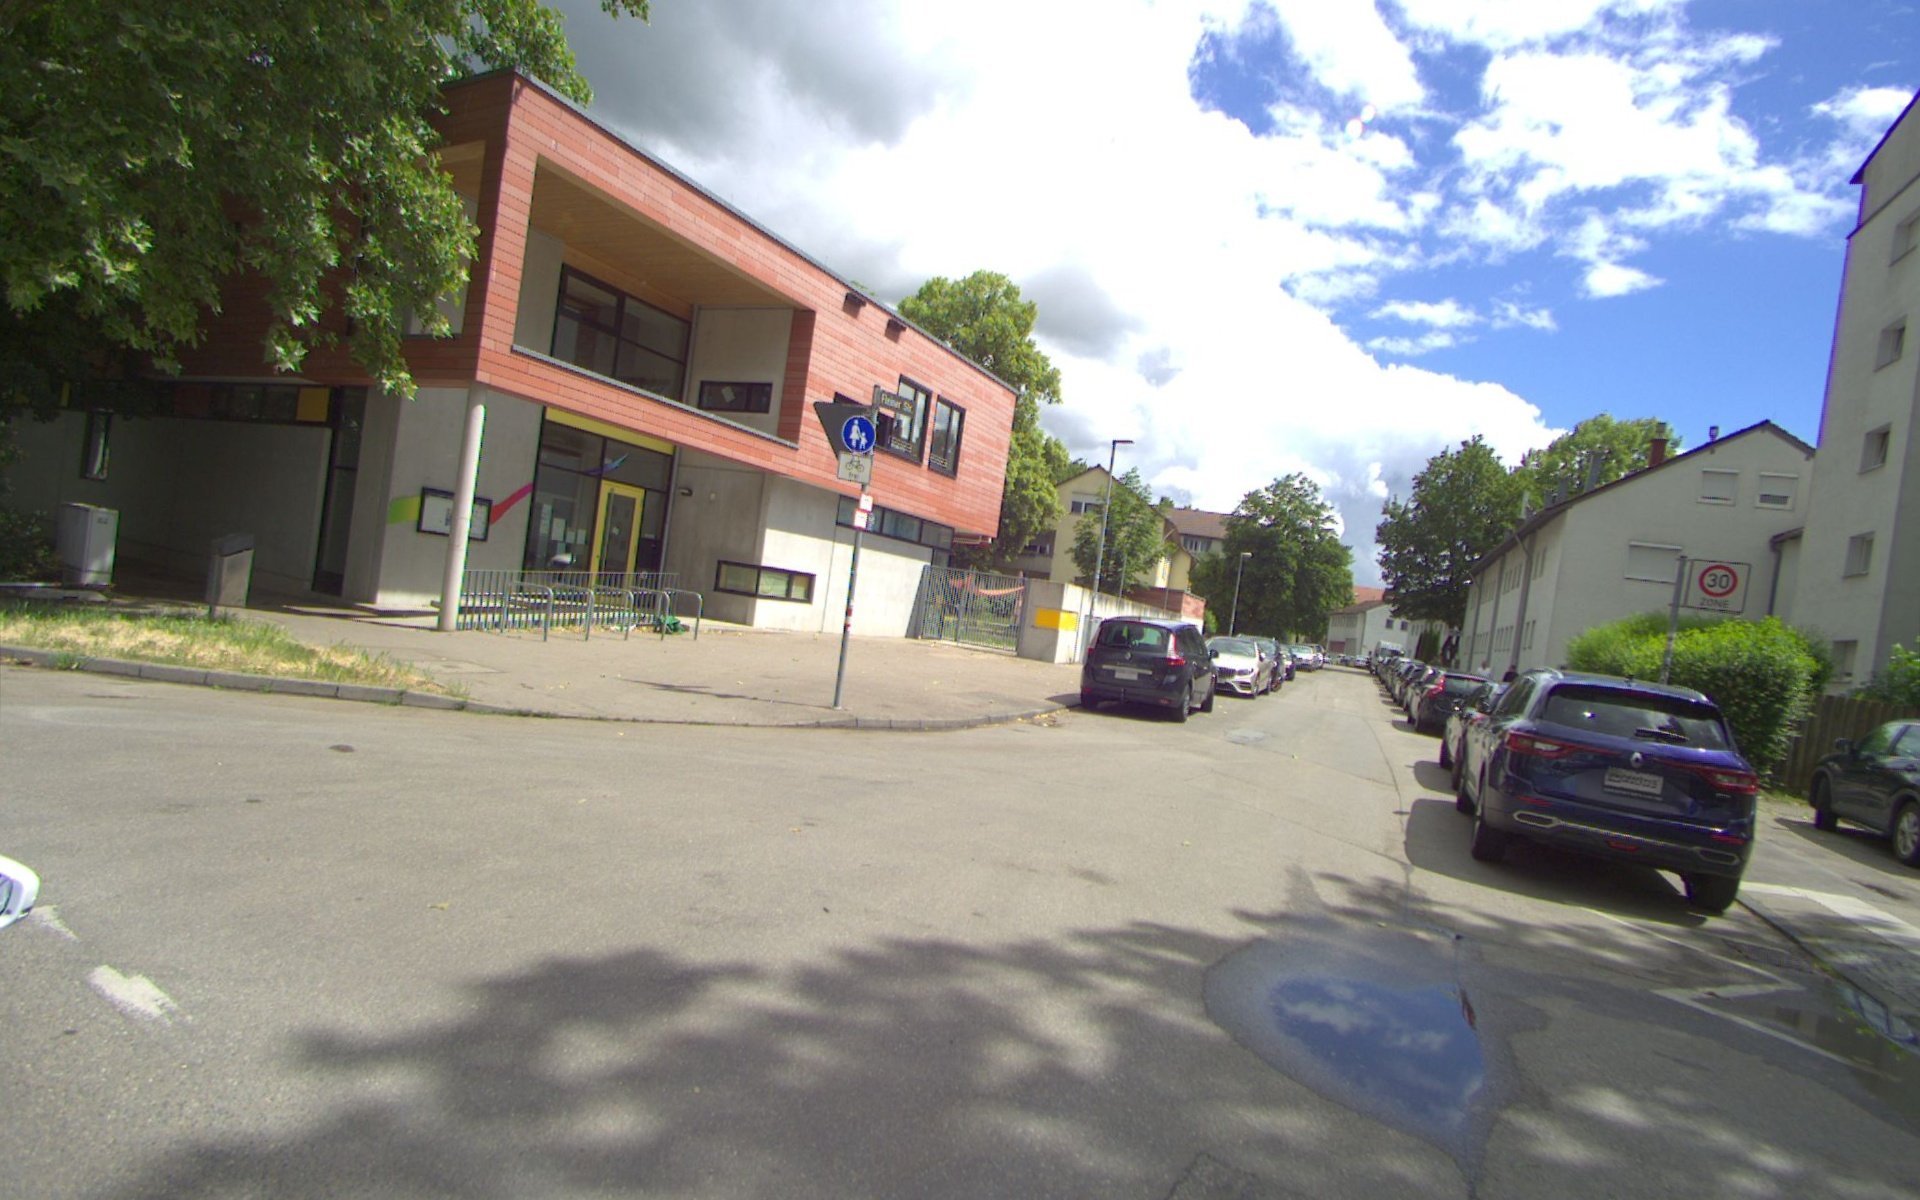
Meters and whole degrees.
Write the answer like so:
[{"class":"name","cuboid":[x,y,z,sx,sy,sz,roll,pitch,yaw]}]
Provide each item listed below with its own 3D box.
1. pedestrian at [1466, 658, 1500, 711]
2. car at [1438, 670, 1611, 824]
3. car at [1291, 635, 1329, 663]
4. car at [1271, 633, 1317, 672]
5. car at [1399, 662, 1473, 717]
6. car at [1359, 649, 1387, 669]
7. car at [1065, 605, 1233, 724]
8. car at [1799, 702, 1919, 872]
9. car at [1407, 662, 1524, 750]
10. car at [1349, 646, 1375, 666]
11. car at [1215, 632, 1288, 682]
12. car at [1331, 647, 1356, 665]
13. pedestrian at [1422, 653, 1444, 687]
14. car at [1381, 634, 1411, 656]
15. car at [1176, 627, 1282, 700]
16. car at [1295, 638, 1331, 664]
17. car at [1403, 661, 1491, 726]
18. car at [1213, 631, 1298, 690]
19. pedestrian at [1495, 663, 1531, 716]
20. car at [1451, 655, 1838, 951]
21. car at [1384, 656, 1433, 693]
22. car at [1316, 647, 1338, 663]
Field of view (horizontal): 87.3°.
[{"class":"pedestrian","cuboid":[19.103,3.084,36.773,0.824,1.775,0.953,8,0,23]},{"class":"car","cuboid":[7.559,1.854,13.802,1.498,1.462,3.996,9,1,24]},{"class":"car","cuboid":[22.492,3.158,64.624,1.859,1.475,3.906,8,1,24]},{"class":"car","cuboid":[18.392,2.855,55.236,1.963,1.772,3.998,8,1,22]},{"class":"car","cuboid":[15.946,2.951,33.877,1.923,1.426,4.060,8,1,23]},{"class":"car","cuboid":[39.152,5.619,95.494,1.865,1.560,3.891,8,-1,16]},{"class":"car","cuboid":[3.493,1.114,17.905,1.859,1.624,4.240,8,1,24]},{"class":"car","cuboid":[11.781,2.257,11.748,1.778,1.676,4.102,8,1,24]},{"class":"car","cuboid":[11.320,2.303,22.799,1.841,1.472,4.121,8,1,22]},{"class":"car","cuboid":[41.277,5.764,103.376,1.864,1.748,3.891,8,-1,15]},{"class":"car","cuboid":[10.656,2.061,36.549,1.859,1.475,4.240,8,0,24]},{"class":"car","cuboid":[43.423,6.280,114.064,1.864,1.748,3.892,8,-1,12]},{"class":"pedestrian","cuboid":[26.256,3.880,55.816,0.824,1.775,0.953,8,0,23]},{"class":"car","cuboid":[33.633,3.470,77.648,1.923,1.426,4.059,8,1,23]},{"class":"car","cuboid":[7.047,1.607,26.049,1.859,1.475,4.240,8,0,24]},{"class":"car","cuboid":[24.112,3.457,68.640,1.859,1.475,3.906,8,1,24]},{"class":"car","cuboid":[14.053,2.646,29.240,1.923,1.426,4.060,8,1,23]},{"class":"car","cuboid":[9.340,1.875,31.560,1.859,1.475,4.240,8,0,24]},{"class":"pedestrian","cuboid":[19.881,3.216,36.189,0.824,1.775,0.953,8,0,23]},{"class":"car","cuboid":[5.796,1.516,9.183,1.976,1.703,4.189,9,1,24]},{"class":"car","cuboid":[21.777,3.581,49.014,1.923,1.426,4.060,8,1,23]},{"class":"car","cuboid":[46.044,6.895,126.279,1.864,1.748,3.891,8,-1,13]}]
